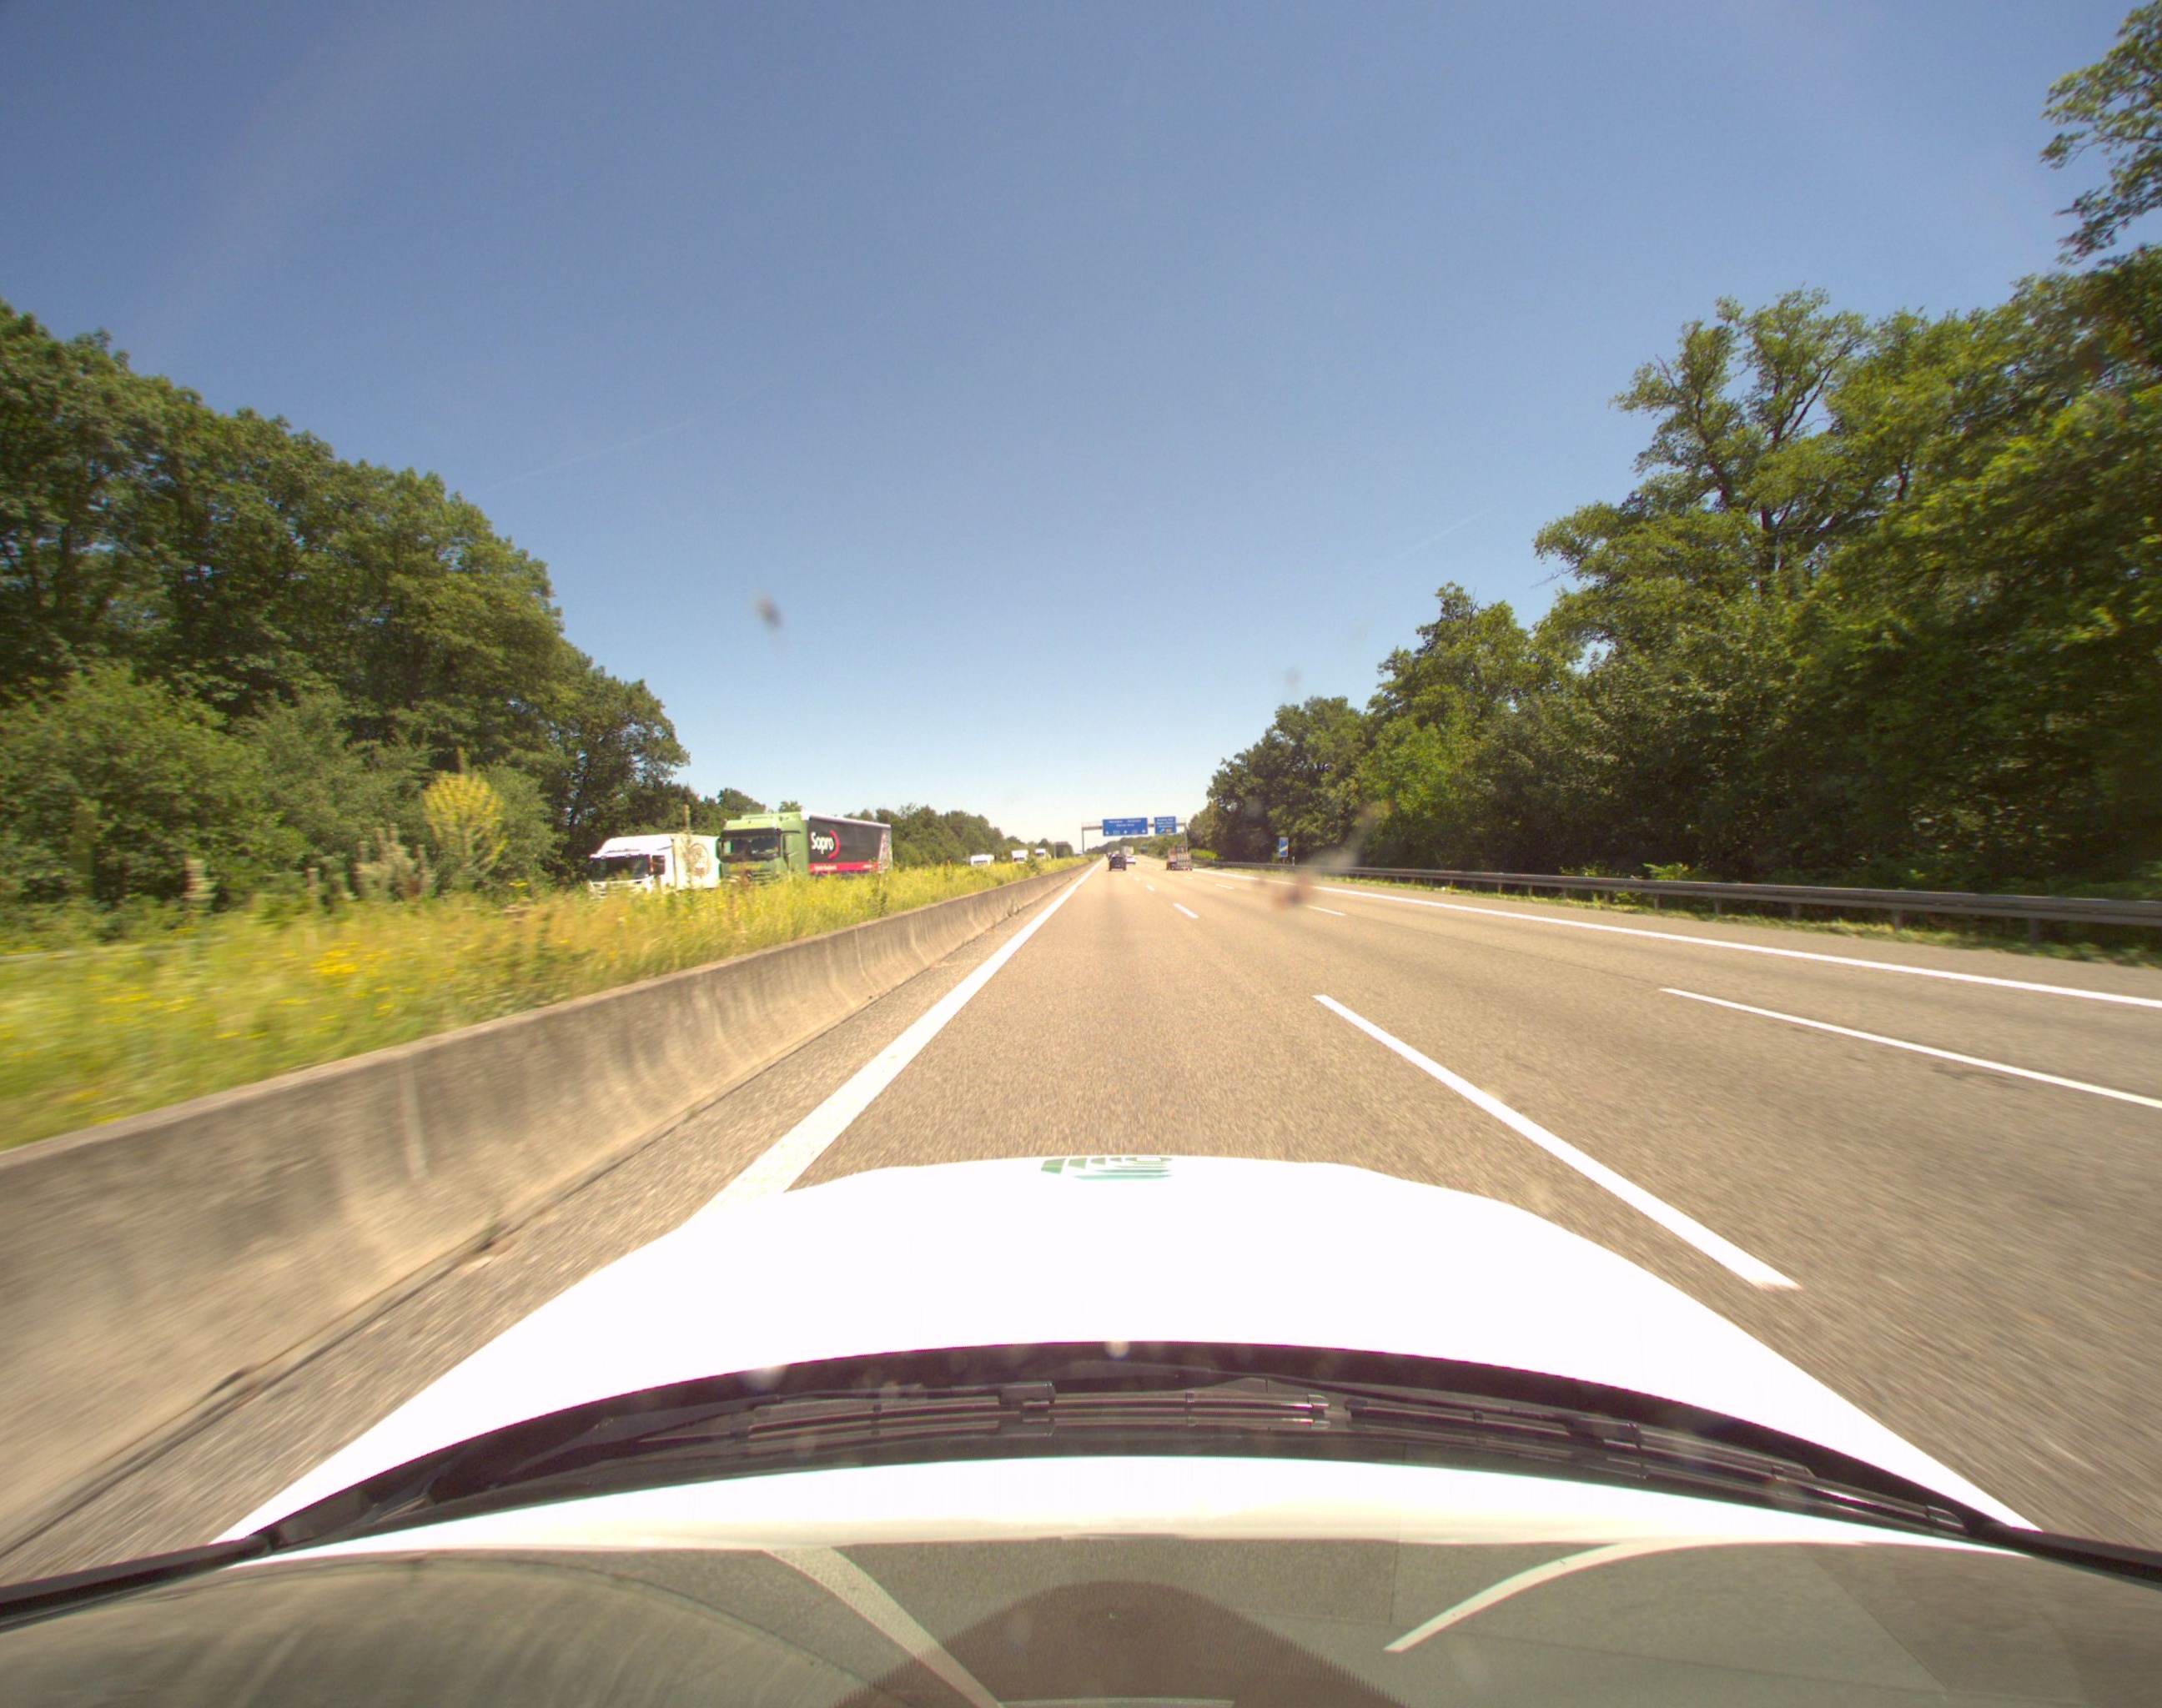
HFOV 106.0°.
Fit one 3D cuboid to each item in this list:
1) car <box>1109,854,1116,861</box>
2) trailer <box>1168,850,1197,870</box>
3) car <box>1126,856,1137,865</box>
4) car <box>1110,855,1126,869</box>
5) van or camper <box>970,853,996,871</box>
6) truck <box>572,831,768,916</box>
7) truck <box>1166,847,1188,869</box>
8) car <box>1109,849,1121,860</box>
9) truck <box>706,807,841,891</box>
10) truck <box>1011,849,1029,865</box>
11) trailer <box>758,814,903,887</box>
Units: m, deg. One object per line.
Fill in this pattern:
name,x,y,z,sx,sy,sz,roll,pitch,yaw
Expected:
car,9.656,1.076,250.050,1.986,2.014,4.001,-3,-1,1
trailer,10.840,0.584,87.658,2.412,2.013,6.033,-1,0,0
car,8.842,1.137,142.991,1.734,1.486,4.001,-1,-1,1
car,4.213,0.923,93.702,1.655,1.549,3.783,-2,0,0
van or camper,-11.162,0.928,93.317,2.214,2.014,5.887,-1,-1,1
truck,-16.801,0.722,34.539,2.677,2.942,10.490,-2,0,2
truck,10.898,0.409,93.012,1.987,2.374,4.644,-1,0,0
car,6.163,0.120,149.269,1.986,2.013,4.001,-3,-1,1
truck,-12.256,-0.166,33.218,2.597,3.008,6.973,-2,0,1
truck,-9.277,0.540,124.084,2.303,2.326,6.078,-1,-1,0
trailer,-12.084,-0.126,41.412,2.633,2.969,14.235,-2,0,1
